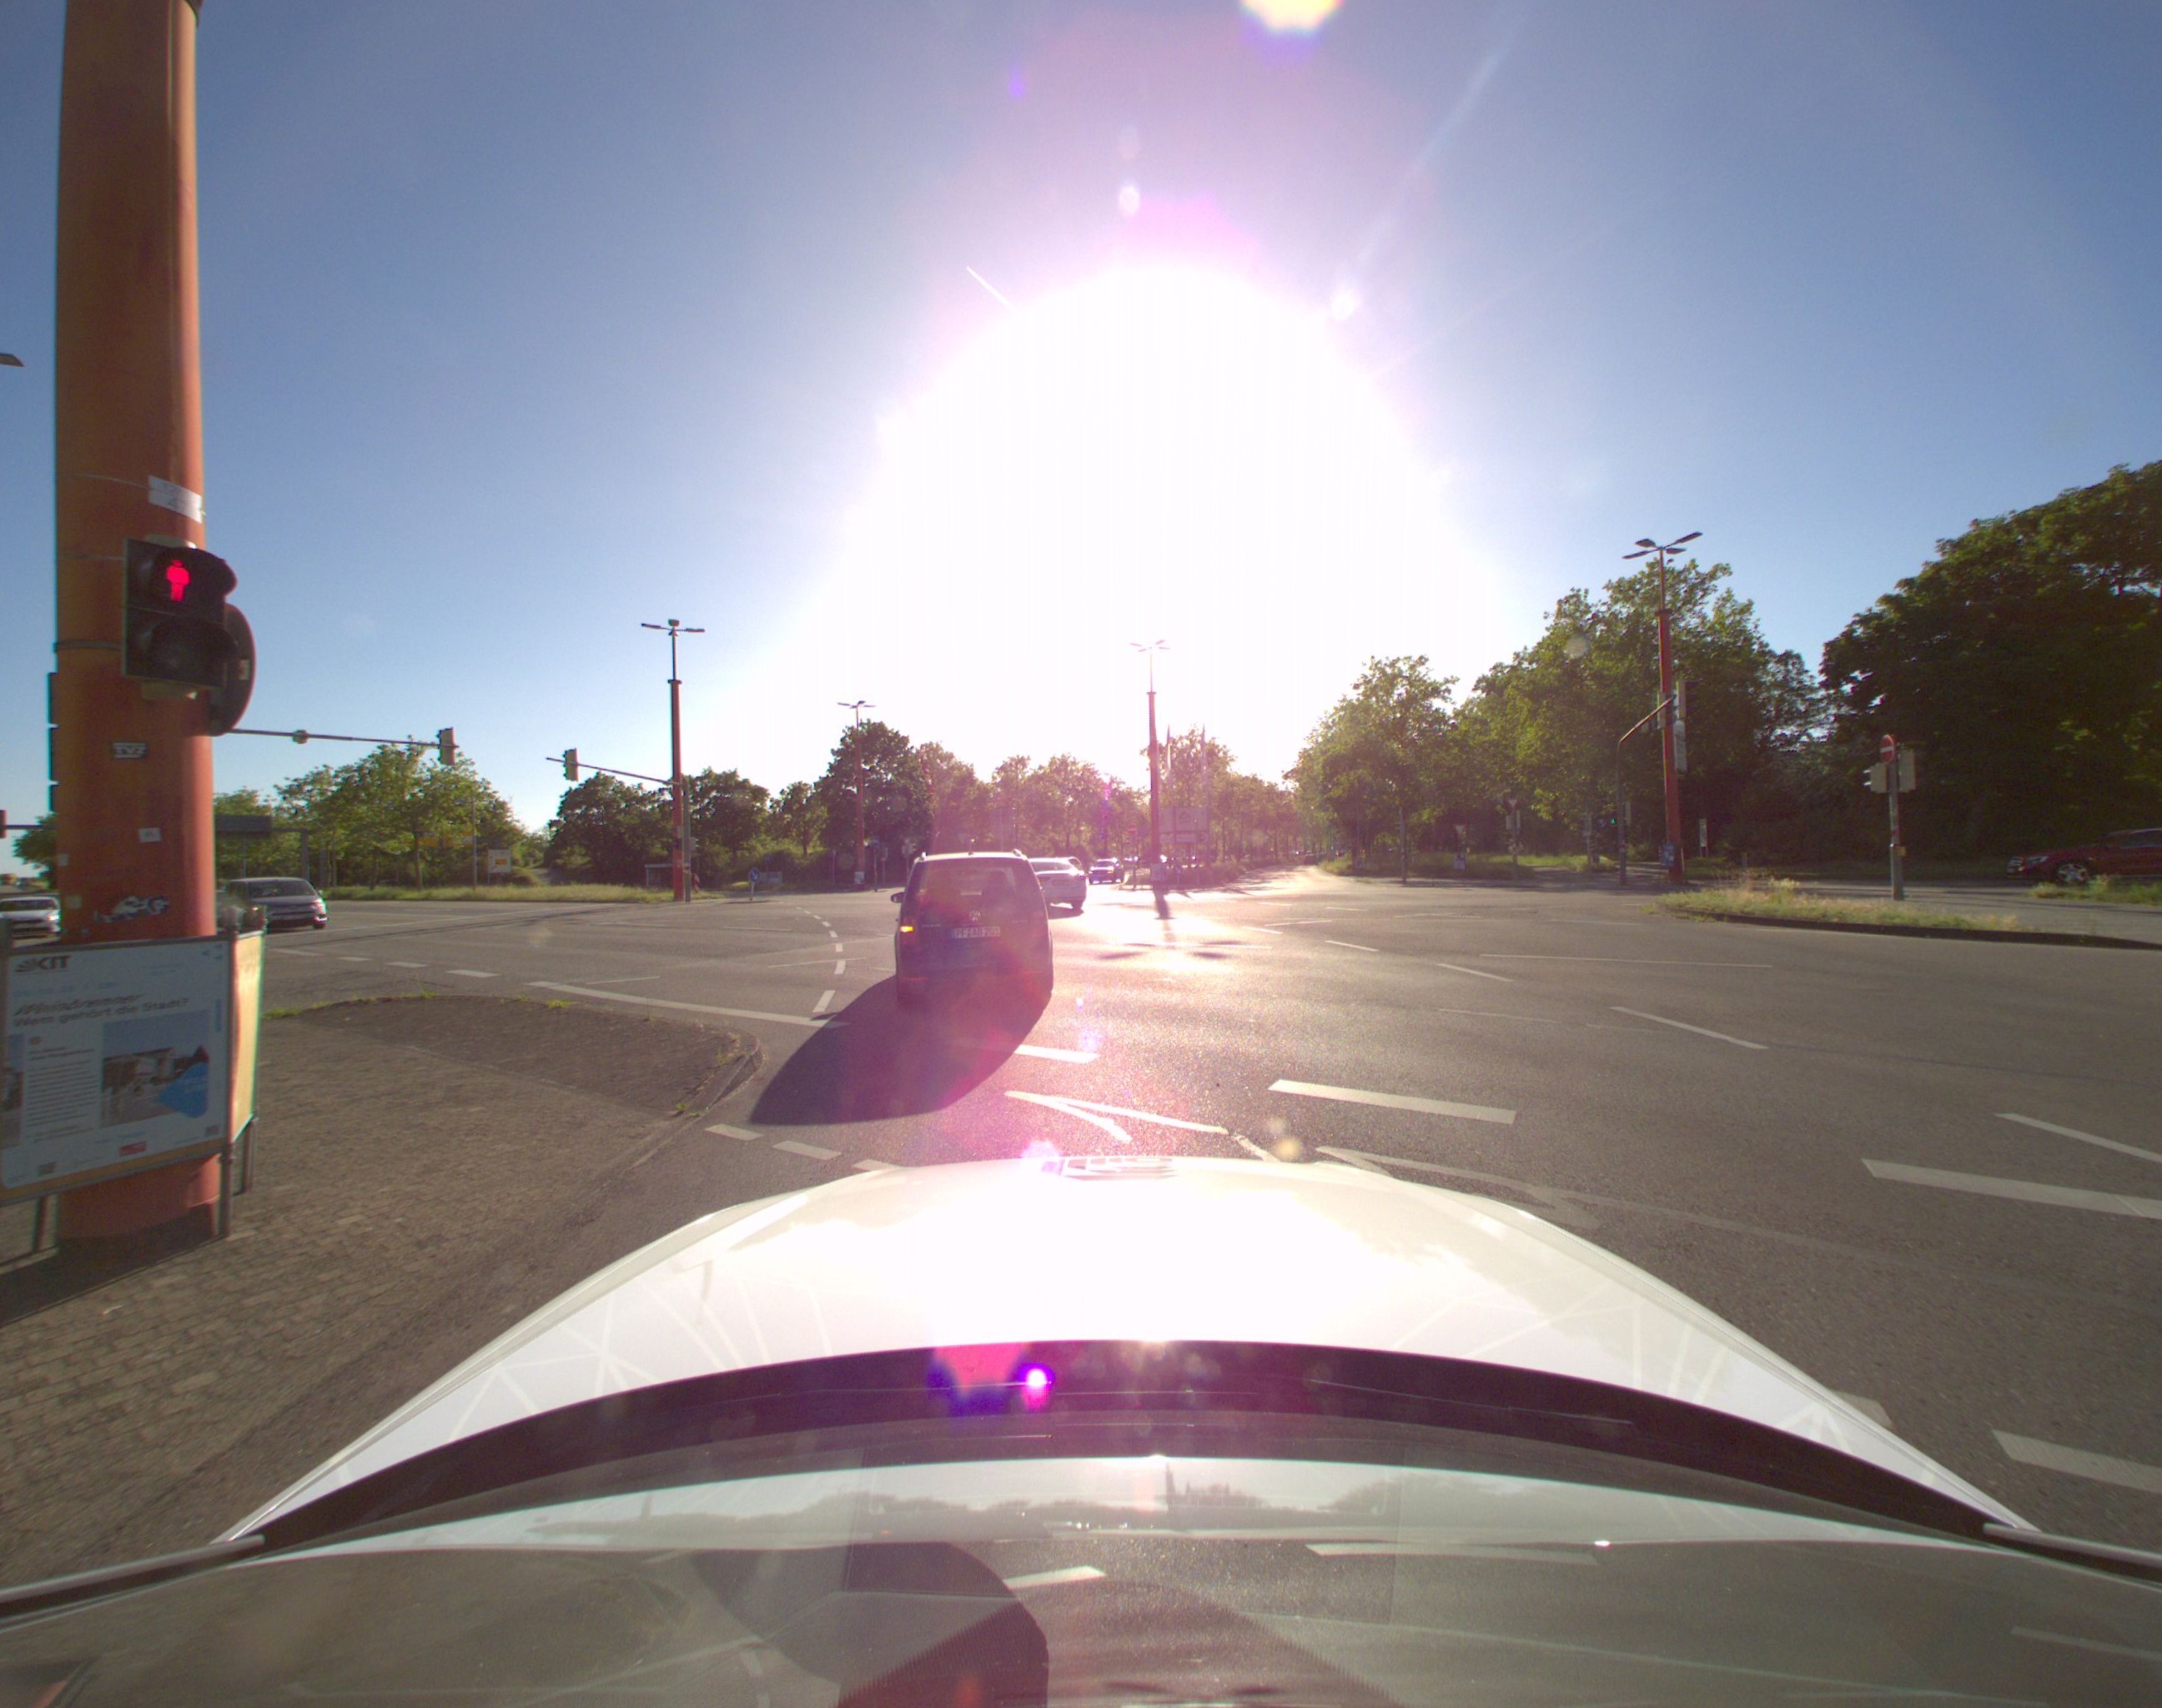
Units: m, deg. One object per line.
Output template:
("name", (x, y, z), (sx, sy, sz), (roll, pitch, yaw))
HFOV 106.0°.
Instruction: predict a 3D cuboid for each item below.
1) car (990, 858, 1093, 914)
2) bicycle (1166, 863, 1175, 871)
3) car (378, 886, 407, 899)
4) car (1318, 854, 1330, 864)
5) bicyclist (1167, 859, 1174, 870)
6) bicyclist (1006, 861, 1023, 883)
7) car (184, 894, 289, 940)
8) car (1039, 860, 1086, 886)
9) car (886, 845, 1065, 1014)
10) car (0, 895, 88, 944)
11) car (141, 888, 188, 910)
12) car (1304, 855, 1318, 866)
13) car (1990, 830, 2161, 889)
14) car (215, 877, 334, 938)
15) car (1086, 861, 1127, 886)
("car", (-1.274, 0.886, 24.029), (1.774, 1.464, 4.336), (-1, -1, -20))
("bicycle", (12.339, 1.811, 112.403), (0.729, 1.091, 2.025), (-2, -1, 21))
("car", (-88.394, 4.946, 104.545), (4.309, 1.464, 1.785), (-2, -1, 36))
("car", (41.634, 0.890, 139.729), (1.859, 1.627, 4.015), (0, -1, 14))
("bicyclist", (12.324, 1.413, 112.402), (0.729, 1.436, 0.971), (-2, -1, 21))
("bicyclist", (-4.728, 1.266, 57.973), (0.752, 1.557, 0.987), (-2, 0, 24))
("car", (-31.693, 2.309, 30.536), (4.506, 1.474, 1.917), (-2, 1, 34))
("car", (-1.251, 1.293, 57.248), (1.887, 1.726, 4.674), (-2, -1, 17))
("car", (-1.291, 0.785, 10.706), (1.765, 1.644, 4.913), (-1, -1, -6))
("car", (-38.779, 2.397, 29.810), (4.208, 1.550, 1.915), (-2, 1, 23))
("car", (-75.286, 3.691, 66.887), (4.506, 1.565, 1.917), (-2, 1, 34))
("car", (30.928, 0.860, 109.424), (1.776, 1.388, 4.067), (-1, 0, 17))
("car", (28.049, 0.124, 22.010), (4.233, 1.495, 2.013), (-2, -1, 34))
("car", (-26.842, 1.733, 27.062), (4.389, 1.775, 1.917), (-2, 1, 34))
("car", (1.744, 1.292, 54.403), (1.754, 1.538, 4.108), (-2, -1, 16))
